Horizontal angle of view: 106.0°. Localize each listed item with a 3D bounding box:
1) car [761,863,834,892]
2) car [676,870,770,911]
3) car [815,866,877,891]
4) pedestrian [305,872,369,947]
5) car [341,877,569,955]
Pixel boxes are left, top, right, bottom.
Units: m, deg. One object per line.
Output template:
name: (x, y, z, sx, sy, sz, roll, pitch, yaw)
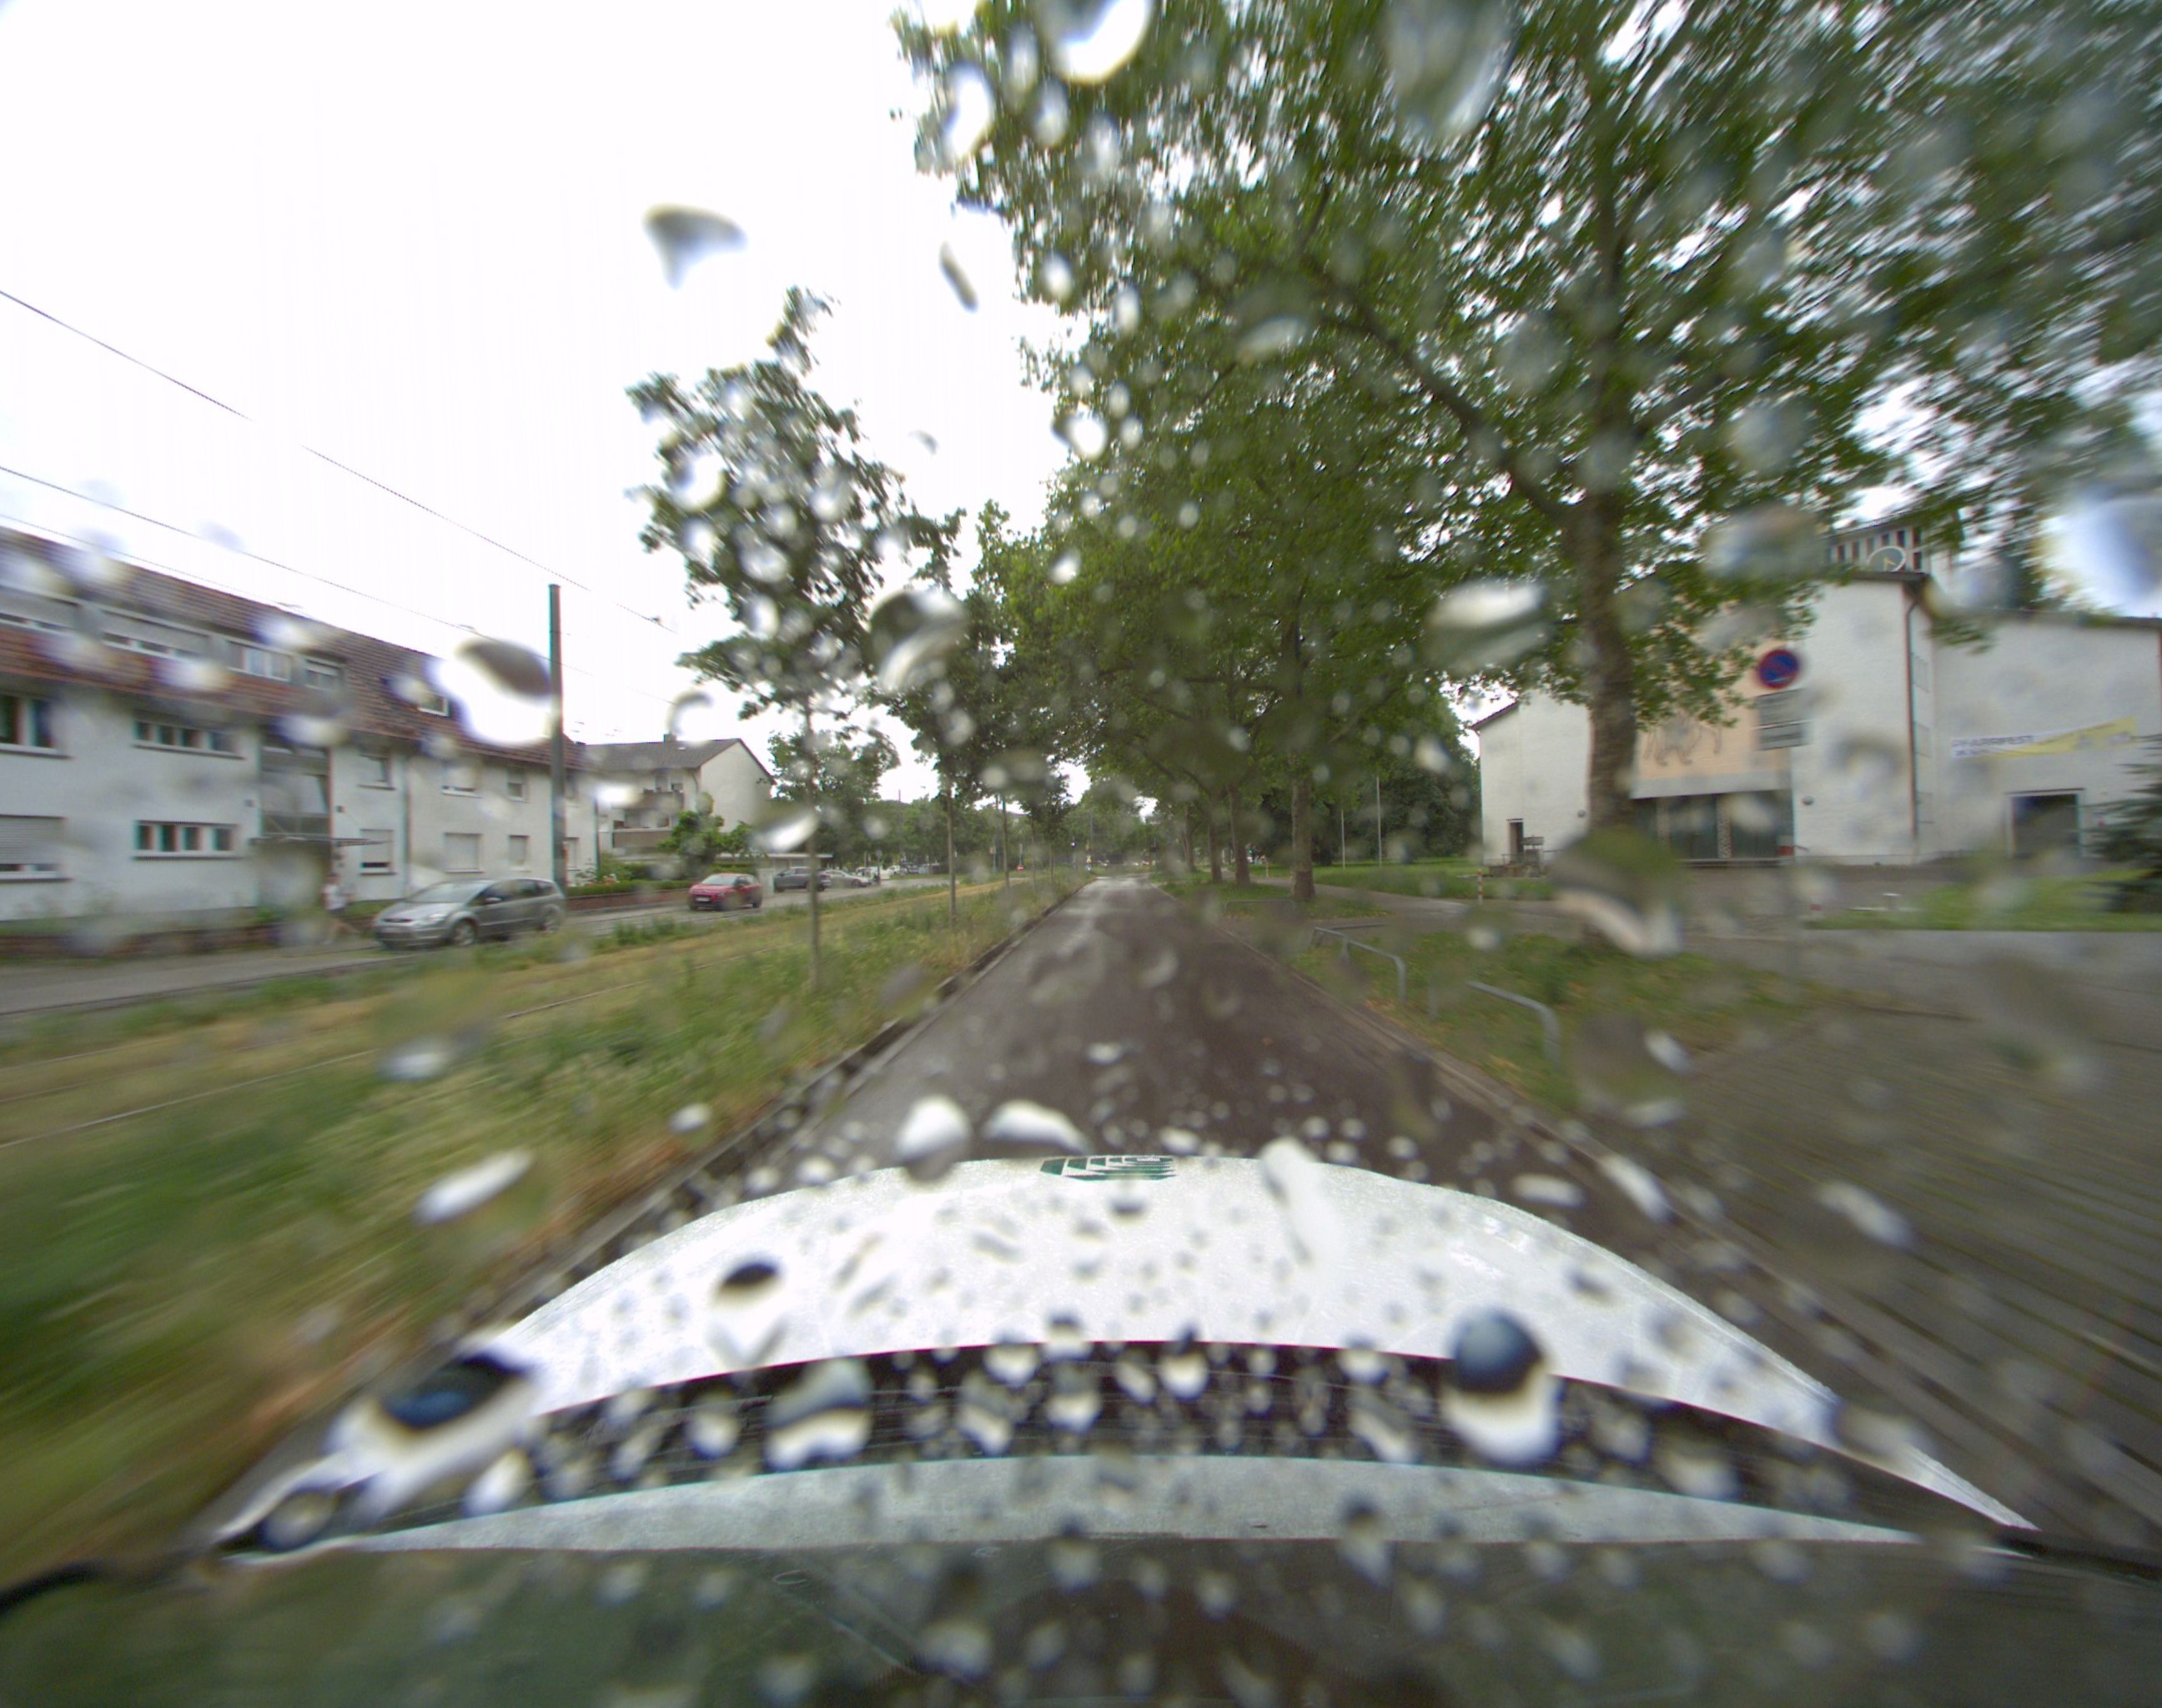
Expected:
car: (-18.337, 1.504, 52.754, 3.975, 1.617, 1.999, -2, -1, -1)
car: (-14.862, 1.479, 34.106, 1.986, 1.488, 4.206, 0, 0, 1)
car: (-17.580, 1.824, 60.980, 3.975, 1.617, 1.999, -2, -1, -1)
pedestrian: (-18.004, 1.322, 19.715, 0.699, 1.755, 0.855, -2, -1, 2)
car: (-15.306, 1.442, 20.301, 1.985, 1.581, 4.521, 0, 0, 4)
